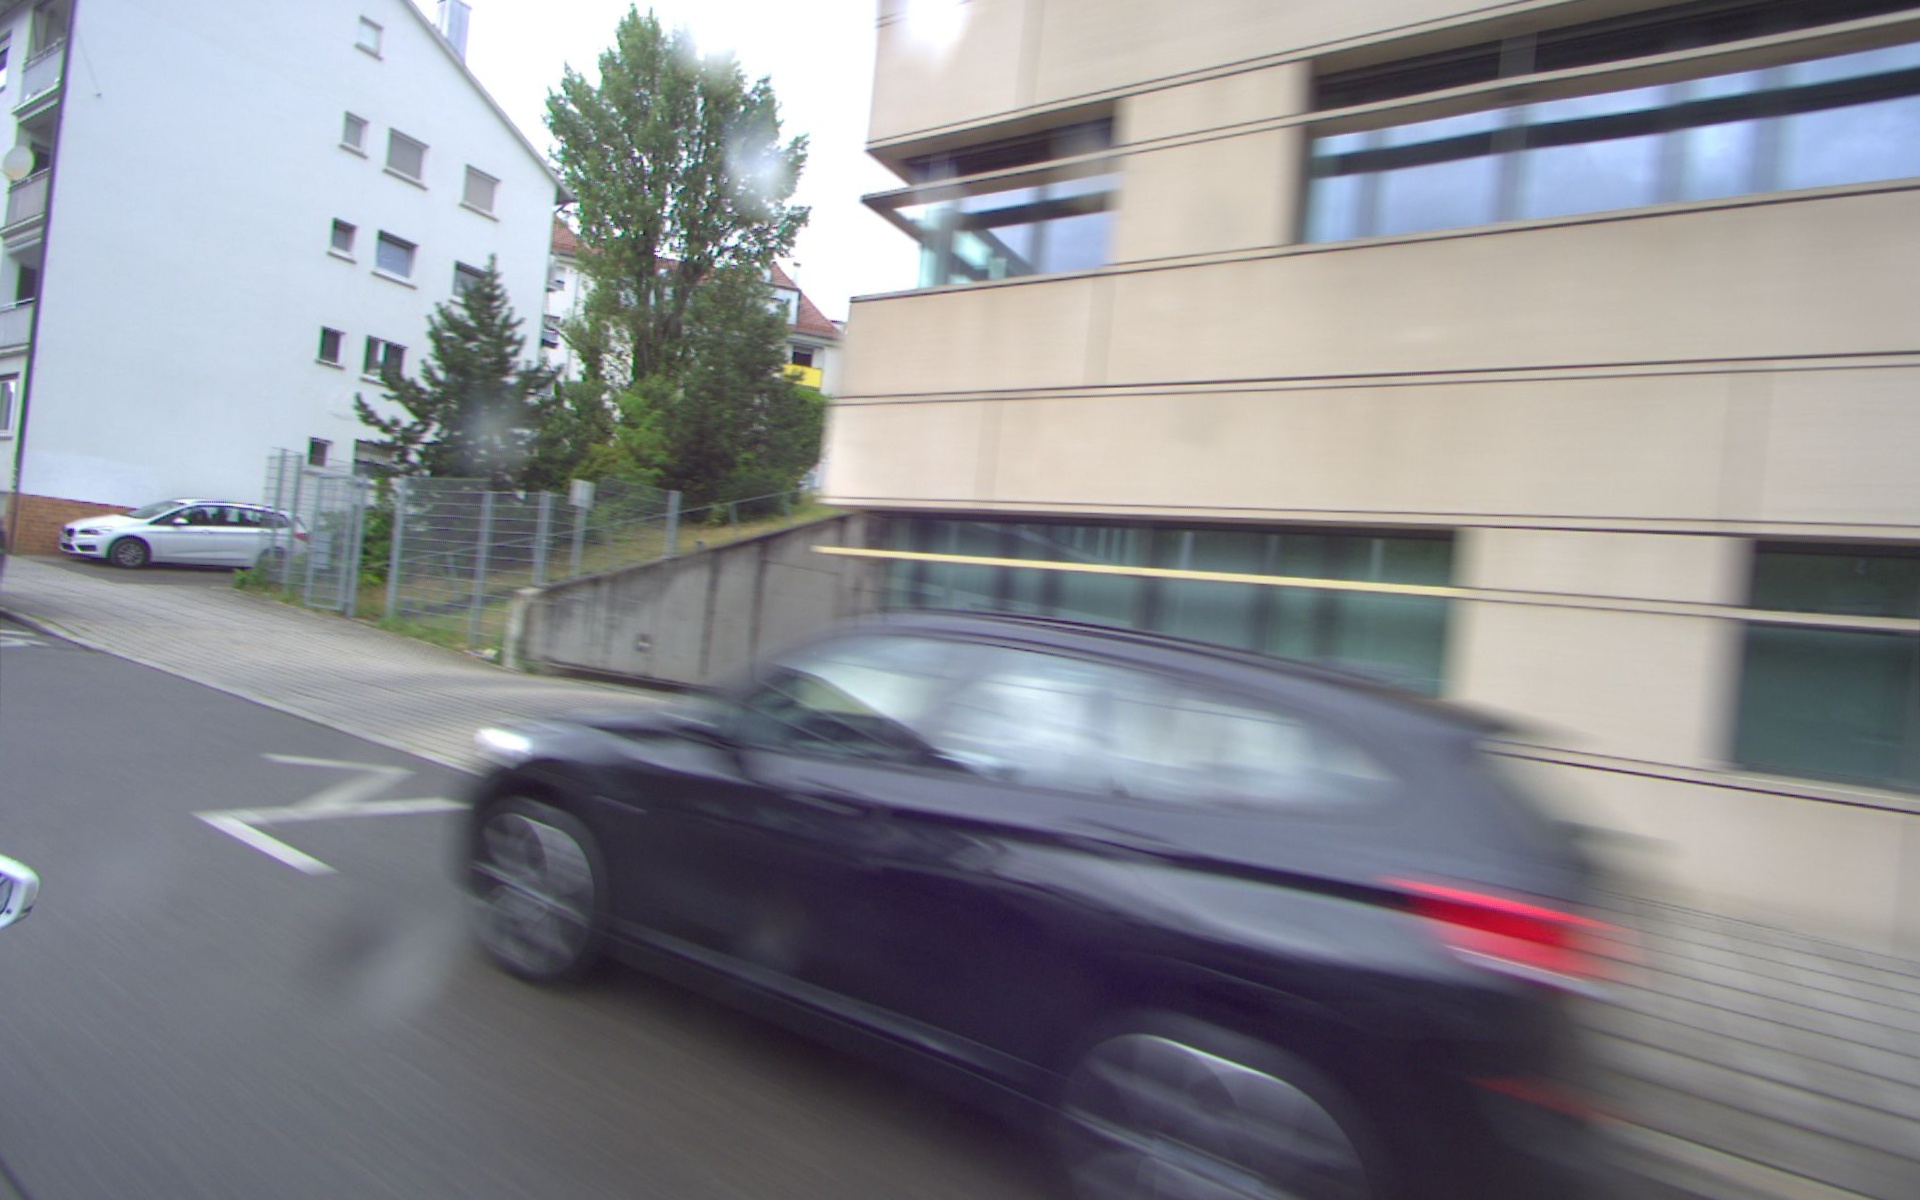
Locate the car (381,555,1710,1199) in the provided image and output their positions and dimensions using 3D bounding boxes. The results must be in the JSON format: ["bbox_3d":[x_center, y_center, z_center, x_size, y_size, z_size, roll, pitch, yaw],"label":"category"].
[{"bbox_3d":[-0.027,0.890,3.781,4.247,1.551,1.747,7,-2,31],"label":"car"}]

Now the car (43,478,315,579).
[{"bbox_3d":[-17.522,-1.545,22.811,1.873,1.735,4.440,7,1,31],"label":"car"}]

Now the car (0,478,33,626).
[{"bbox_3d":[-13.944,-0.889,12.738,4.717,1.770,1.939,7,-2,32],"label":"car"}]
